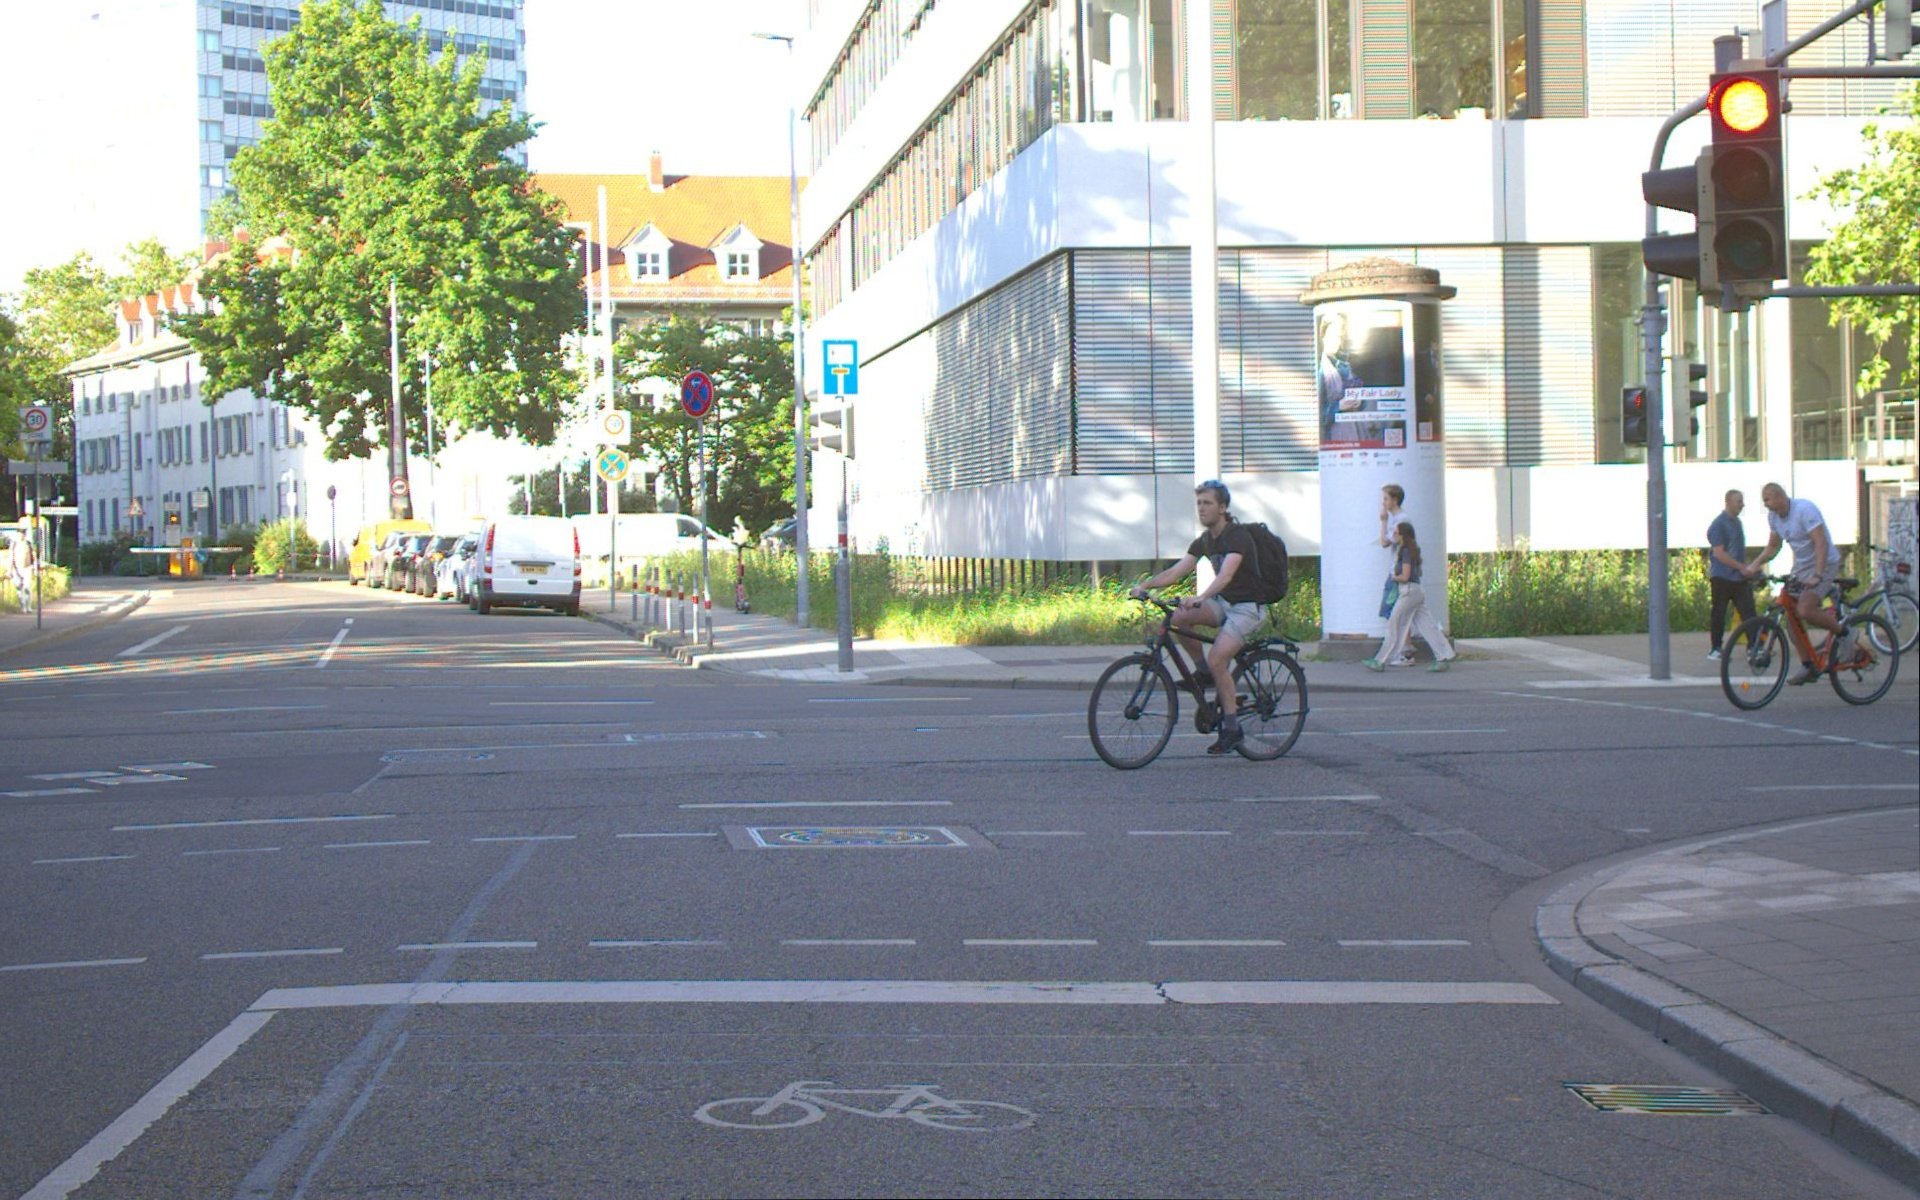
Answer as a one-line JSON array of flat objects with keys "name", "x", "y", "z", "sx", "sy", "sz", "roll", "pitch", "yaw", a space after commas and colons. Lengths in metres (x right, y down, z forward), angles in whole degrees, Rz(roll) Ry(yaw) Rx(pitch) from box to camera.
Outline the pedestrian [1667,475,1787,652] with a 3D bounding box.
[{"name": "pedestrian", "x": 7.973, "y": -0.376, "z": 35.749, "sx": 0.760, "sy": 1.809, "sz": 0.917, "roll": 0, "pitch": 0, "yaw": -39}]

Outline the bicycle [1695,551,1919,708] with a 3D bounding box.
[{"name": "bicycle", "x": 6.639, "y": 0.210, "z": 26.598, "sx": 1.963, "sy": 1.148, "sz": 0.627, "roll": -2, "pitch": 1, "yaw": -32}]

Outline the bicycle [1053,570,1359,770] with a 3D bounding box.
[{"name": "bicycle", "x": 1.540, "y": 0.409, "z": 21.316, "sx": 1.964, "sy": 1.148, "sz": 0.592, "roll": -2, "pitch": 1, "yaw": -36}]

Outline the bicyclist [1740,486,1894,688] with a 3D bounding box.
[{"name": "bicyclist", "x": 6.629, "y": -0.110, "z": 26.602, "sx": 0.915, "sy": 1.517, "sz": 0.704, "roll": -2, "pitch": 1, "yaw": -32}]

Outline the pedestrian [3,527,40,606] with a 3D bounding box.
[{"name": "pedestrian", "x": -19.045, "y": -0.683, "z": 69.731, "sx": 0.699, "sy": 1.581, "sz": 0.637, "roll": 1, "pitch": 0, "yaw": -16}]

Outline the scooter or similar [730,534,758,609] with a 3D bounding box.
[{"name": "scooter or similar", "x": -3.661, "y": -0.491, "z": 58.297, "sx": 0.437, "sy": 1.252, "sz": 1.420, "roll": -1, "pitch": 1, "yaw": -4}]

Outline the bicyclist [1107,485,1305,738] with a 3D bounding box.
[{"name": "bicyclist", "x": 1.527, "y": 0.057, "z": 21.317, "sx": 1.075, "sy": 1.522, "sz": 0.592, "roll": -2, "pitch": 1, "yaw": -36}]

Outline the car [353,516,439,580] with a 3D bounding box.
[{"name": "car", "x": -15.740, "y": -1.450, "z": 95.841, "sx": 1.993, "sy": 1.719, "sz": 4.653, "roll": 1, "pitch": 1, "yaw": -14}]

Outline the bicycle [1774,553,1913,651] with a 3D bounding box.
[{"name": "bicycle", "x": 9.282, "y": 0.017, "z": 36.154, "sx": 0.378, "sy": 1.005, "sz": 1.432, "roll": -2, "pitch": 2, "yaw": -42}]

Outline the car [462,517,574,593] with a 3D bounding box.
[{"name": "car", "x": -9.173, "y": -0.933, "z": 71.042, "sx": 1.993, "sy": 1.493, "sz": 4.653, "roll": 1, "pitch": 1, "yaw": -11}]

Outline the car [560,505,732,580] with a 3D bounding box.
[{"name": "car", "x": -9.404, "y": -1.703, "z": 102.937, "sx": 4.791, "sy": 2.151, "sz": 2.001, "roll": 1, "pitch": 0, "yaw": -17}]

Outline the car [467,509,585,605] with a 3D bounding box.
[{"name": "car", "x": -8.221, "y": -0.816, "z": 64.828, "sx": 1.993, "sy": 1.719, "sz": 4.653, "roll": 1, "pitch": 1, "yaw": -10}]

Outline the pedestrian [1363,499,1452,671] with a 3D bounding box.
[{"name": "pedestrian", "x": 4.515, "y": -0.153, "z": 34.683, "sx": 0.765, "sy": 1.713, "sz": 0.647, "roll": 1, "pitch": 0, "yaw": 18}]

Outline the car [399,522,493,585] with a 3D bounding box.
[{"name": "car", "x": -12.881, "y": -1.163, "z": 85.985, "sx": 1.993, "sy": 1.493, "sz": 4.653, "roll": 1, "pitch": 1, "yaw": -13}]

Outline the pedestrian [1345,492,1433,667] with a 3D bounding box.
[{"name": "pedestrian", "x": 4.438, "y": -0.215, "z": 35.563, "sx": 0.765, "sy": 1.789, "sz": 0.647, "roll": 1, "pitch": 0, "yaw": 18}]

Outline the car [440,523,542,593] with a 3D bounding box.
[{"name": "car", "x": -10.506, "y": -0.934, "z": 76.814, "sx": 1.993, "sy": 1.493, "sz": 4.653, "roll": 1, "pitch": 1, "yaw": -11}]

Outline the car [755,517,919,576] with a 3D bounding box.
[{"name": "car", "x": -3.757, "y": -1.632, "z": 104.780, "sx": 4.635, "sy": 1.719, "sz": 2.001, "roll": 1, "pitch": 0, "yaw": -16}]

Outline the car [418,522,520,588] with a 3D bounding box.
[{"name": "car", "x": -11.628, "y": -1.059, "z": 81.261, "sx": 1.993, "sy": 1.493, "sz": 4.288, "roll": 1, "pitch": 1, "yaw": -13}]
